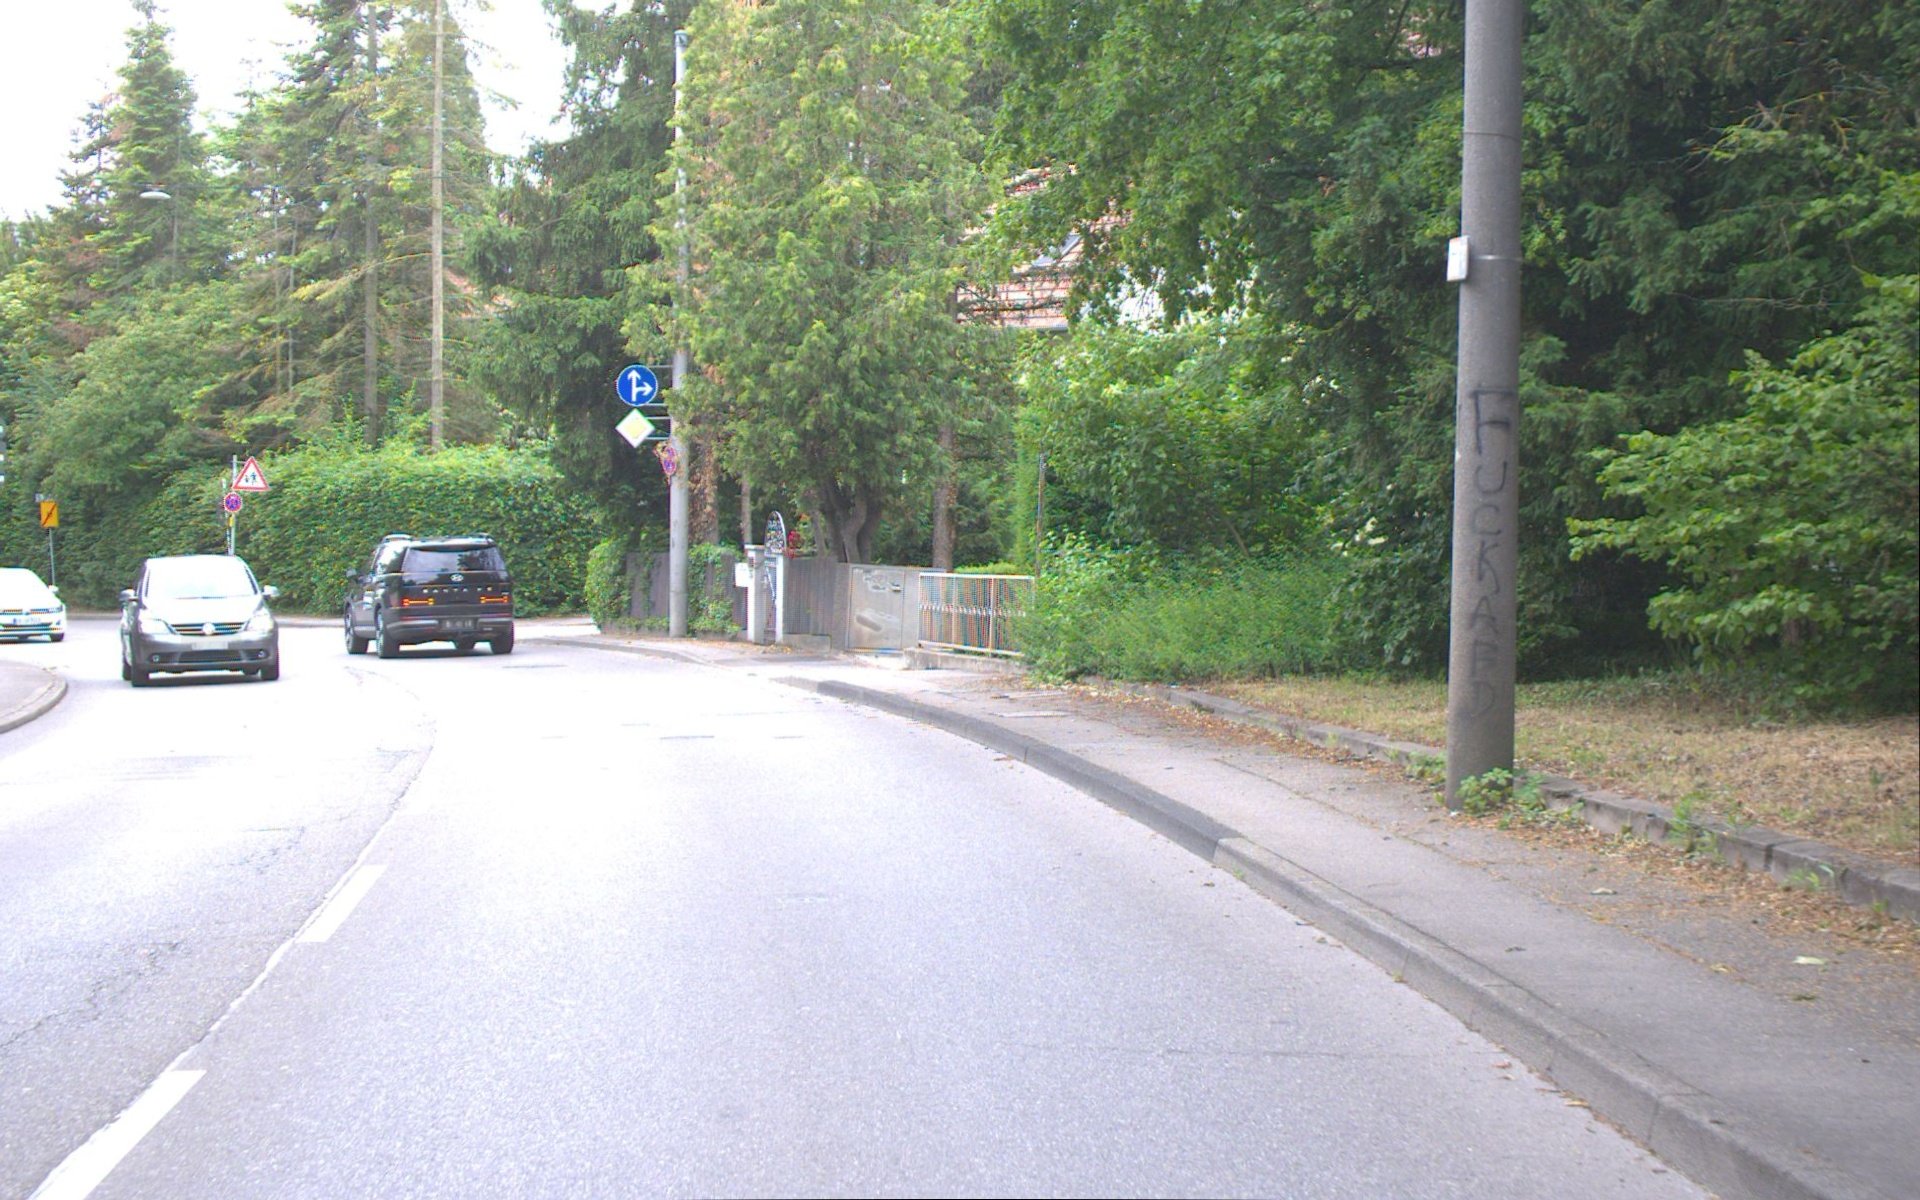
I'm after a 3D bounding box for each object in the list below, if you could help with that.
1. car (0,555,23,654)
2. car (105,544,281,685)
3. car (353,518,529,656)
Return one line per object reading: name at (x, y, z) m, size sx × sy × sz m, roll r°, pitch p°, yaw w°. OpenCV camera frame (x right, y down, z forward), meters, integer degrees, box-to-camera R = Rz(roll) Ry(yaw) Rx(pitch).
car at (-15.420, 0.083, 52.839) m, size 1.902 × 1.449 × 3.798 m, roll -3°, pitch 2°, yaw -15°
car at (-9.493, 0.135, 42.520) m, size 1.993 × 1.612 × 4.001 m, roll -1°, pitch 1°, yaw -13°
car at (-7.611, -0.222, 50.148) m, size 1.993 × 1.875 × 4.002 m, roll 0°, pitch 2°, yaw -16°
